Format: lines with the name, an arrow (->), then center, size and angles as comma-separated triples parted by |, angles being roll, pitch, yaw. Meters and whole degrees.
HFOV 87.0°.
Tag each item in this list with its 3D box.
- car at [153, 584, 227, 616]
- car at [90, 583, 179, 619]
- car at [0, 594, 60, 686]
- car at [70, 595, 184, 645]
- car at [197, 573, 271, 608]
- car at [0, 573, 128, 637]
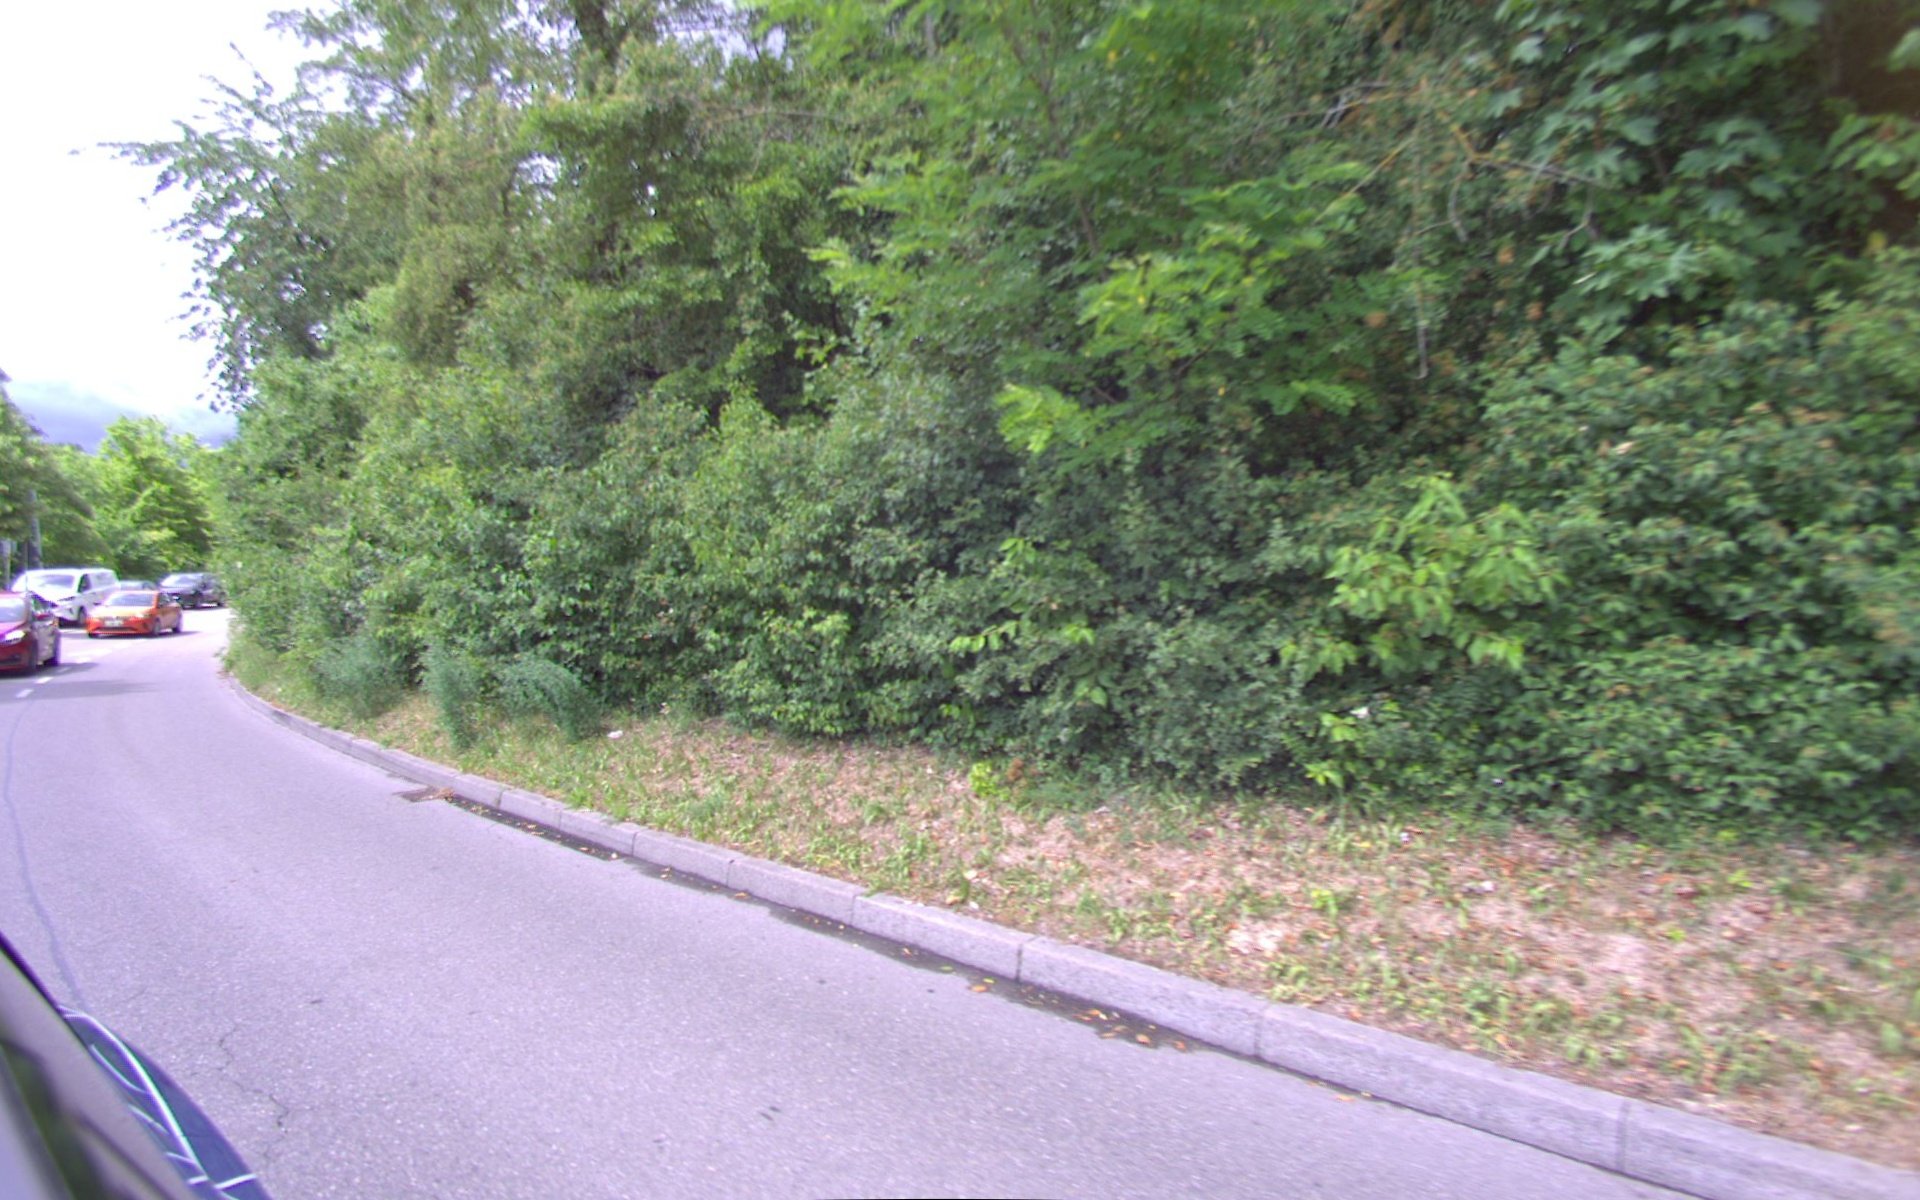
car -> -35.749, -0.043, 47.108 | 1.766, 1.423, 4.119 | -1, 1, -23
car -> -34.005, 0.021, 41.811 | 1.766, 1.423, 4.119 | -1, 1, -23
car -> -19.471, 0.732, 20.096 | 1.882, 1.711, 4.398 | 0, 0, -35
car -> -26.369, 0.584, 32.194 | 1.766, 1.423, 4.127 | 0, 1, -24
car -> -37.678, -0.487, 52.624 | 1.767, 1.726, 4.117 | 0, 1, -14
car -> -31.430, 0.118, 35.618 | 1.839, 2.074, 5.445 | -1, 1, -23
